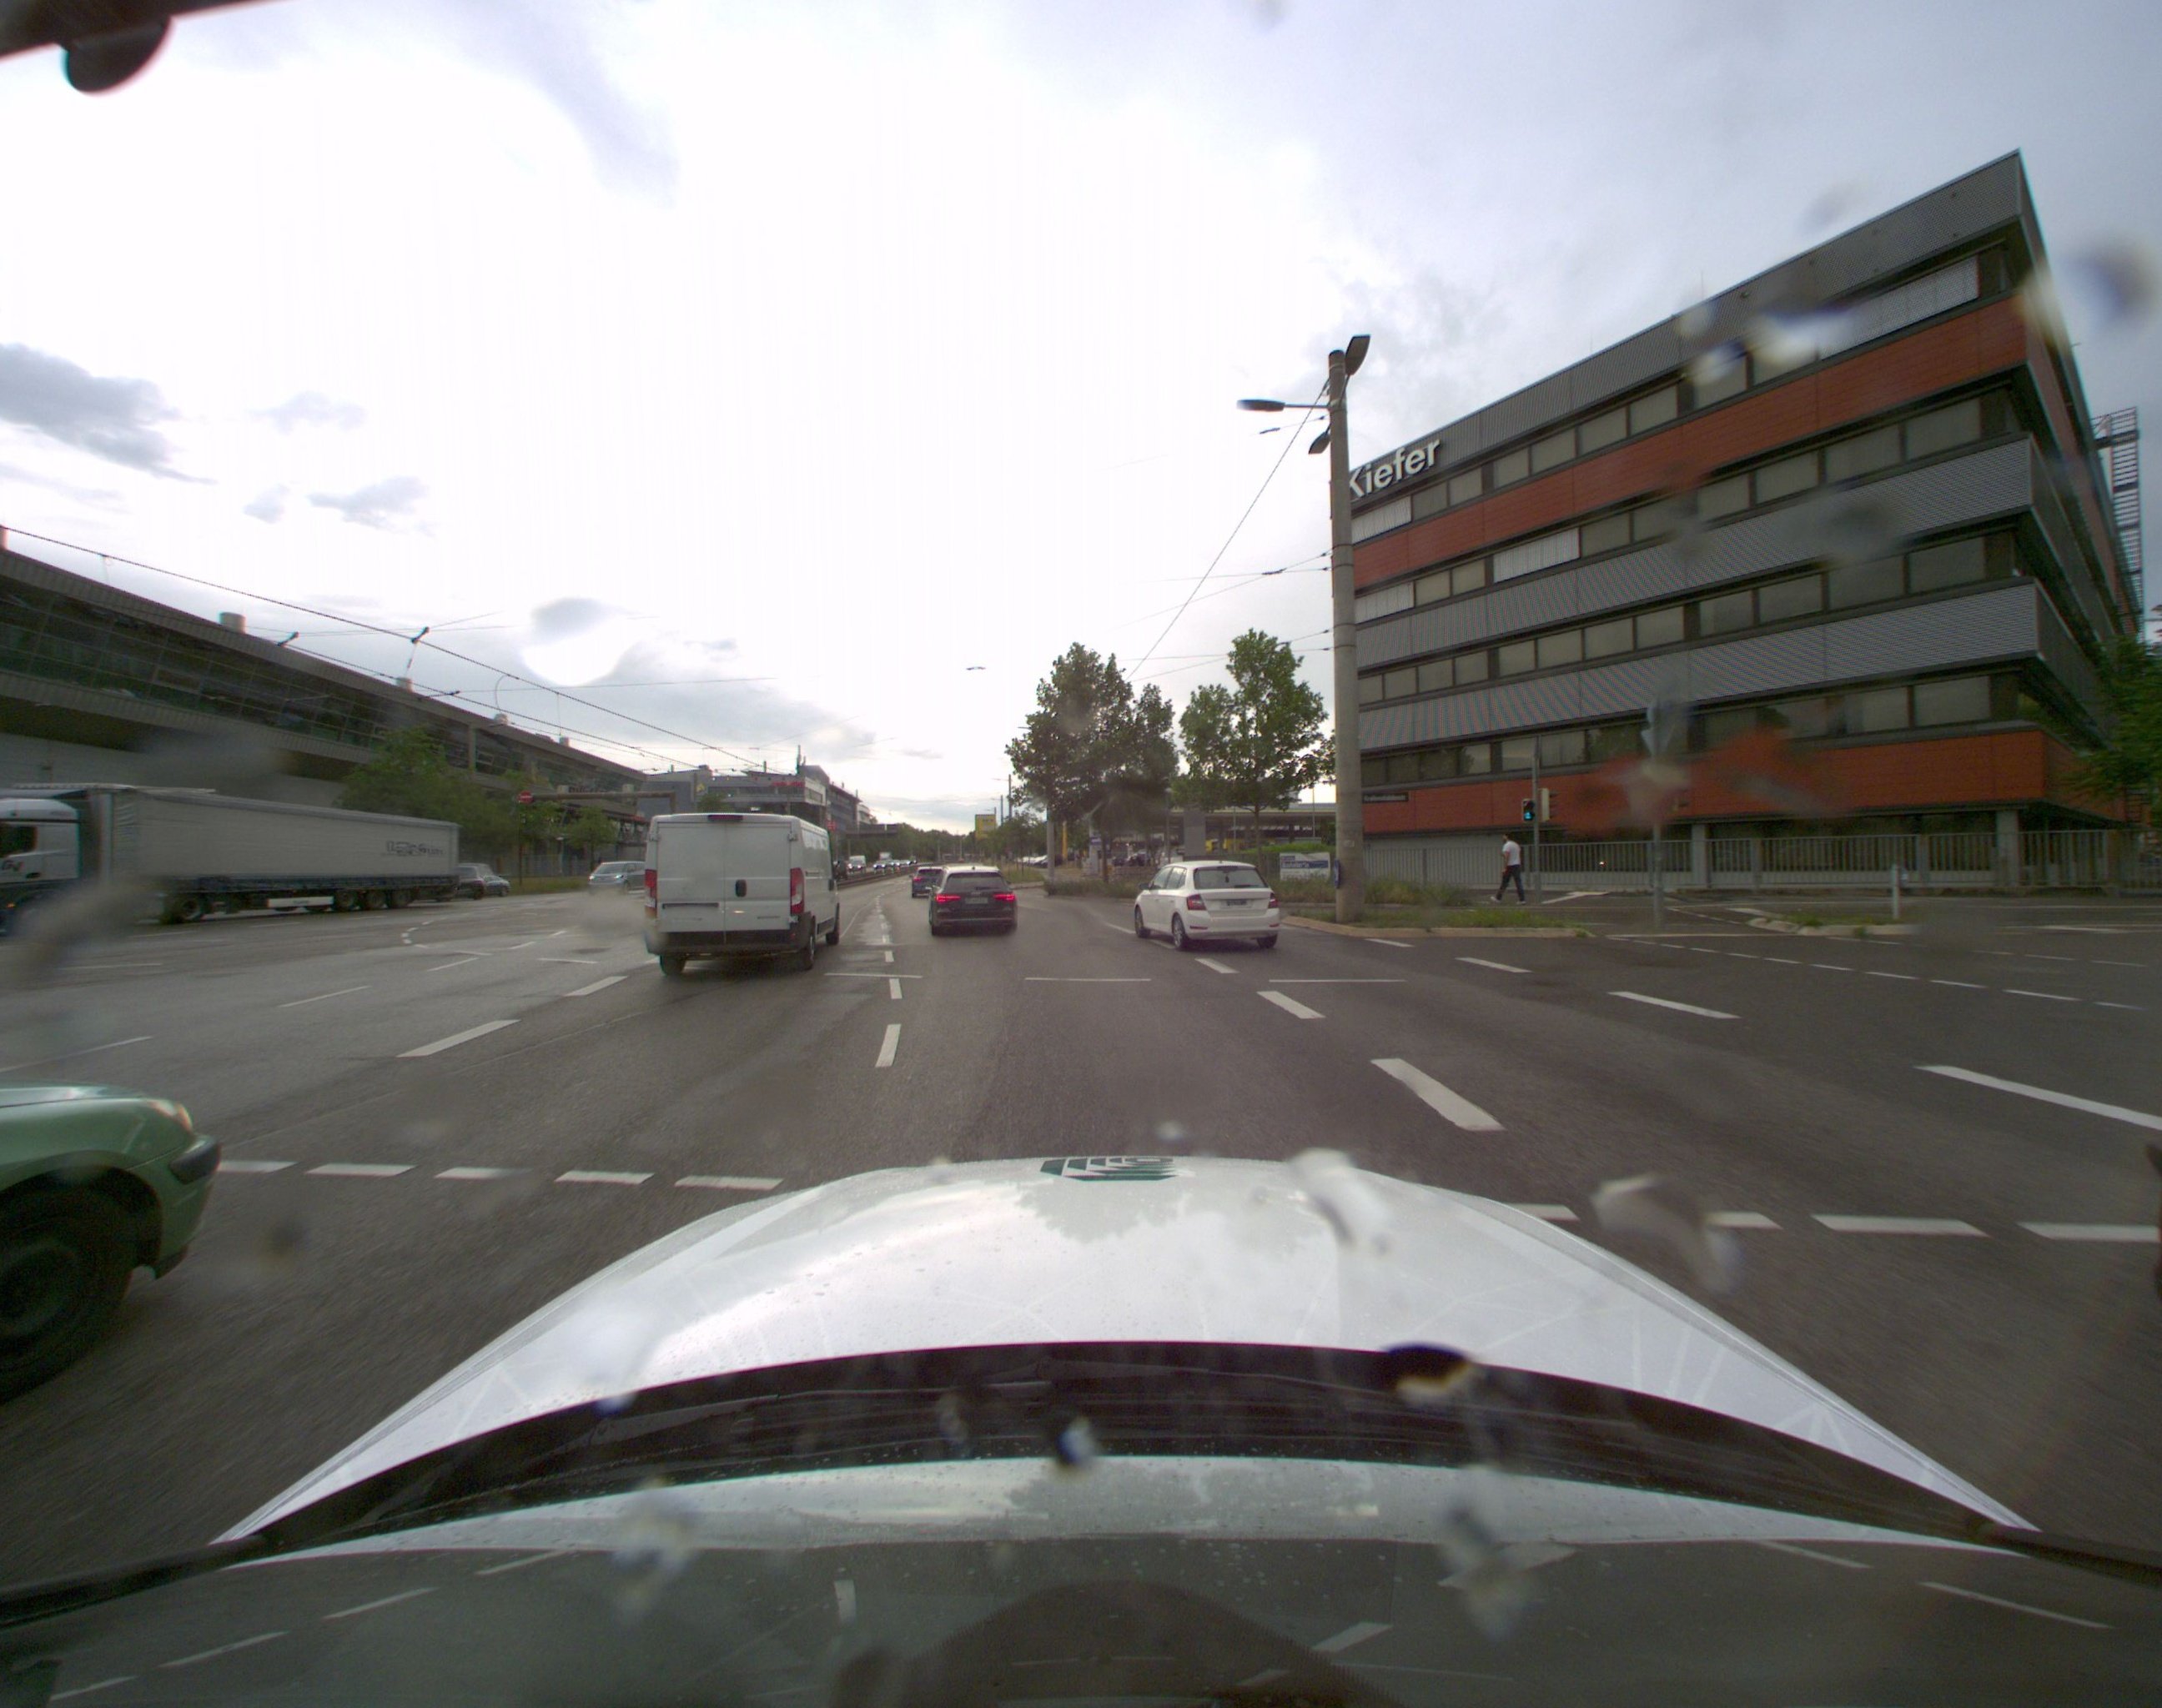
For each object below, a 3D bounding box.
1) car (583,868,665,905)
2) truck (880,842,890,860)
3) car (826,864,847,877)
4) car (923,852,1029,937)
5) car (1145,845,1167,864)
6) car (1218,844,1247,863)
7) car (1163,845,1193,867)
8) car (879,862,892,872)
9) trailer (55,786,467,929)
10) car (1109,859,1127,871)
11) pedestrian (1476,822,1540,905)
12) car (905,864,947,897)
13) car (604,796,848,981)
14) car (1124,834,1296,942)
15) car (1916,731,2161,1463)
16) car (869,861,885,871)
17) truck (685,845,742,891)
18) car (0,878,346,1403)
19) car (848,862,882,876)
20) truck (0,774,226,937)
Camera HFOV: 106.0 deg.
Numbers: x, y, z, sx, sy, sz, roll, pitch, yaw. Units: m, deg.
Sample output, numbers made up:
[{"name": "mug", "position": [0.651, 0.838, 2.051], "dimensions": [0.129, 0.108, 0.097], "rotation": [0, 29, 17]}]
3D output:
[{"name": "car", "position": [-26.300, 1.834, 47.103], "dimensions": [1.987, 1.837, 4.907], "rotation": [1, 1, -1]}, {"name": "truck", "position": [-42.998, -0.605, 178.703], "dimensions": [2.161, 3.646, 6.841], "rotation": [1, -1, -13]}, {"name": "car", "position": [-34.166, 2.318, 114.033], "dimensions": [2.158, 1.506, 4.287], "rotation": [6, -2, -9]}, {"name": "car", "position": [-2.443, 0.797, 18.087], "dimensions": [1.995, 1.637, 3.984], "rotation": [-1, 0, -12]}, {"name": "car", "position": [8.076, 0.104, 88.367], "dimensions": [1.677, 2.014, 3.534], "rotation": [1, -1, -6]}, {"name": "car", "position": [16.825, -0.022, 90.591], "dimensions": [1.871, 2.014, 3.759], "rotation": [1, -1, -11]}, {"name": "car", "position": [9.416, 0.207, 79.366], "dimensions": [1.992, 2.032, 3.989], "rotation": [-2, 0, -8]}, {"name": "car", "position": [-36.961, 2.415, 153.939], "dimensions": [2.160, 1.886, 4.283], "rotation": [1, -1, -12]}, {"name": "trailer", "position": [-28.826, 0.182, 30.220], "dimensions": [2.642, 4.125, 12.736], "rotation": [-1, -1, -2]}, {"name": "car", "position": [5.051, 1.449, 111.738], "dimensions": [1.790, 1.591, 3.988], "rotation": [-1, -1, -8]}, {"name": "pedestrian", "position": [11.368, 0.236, 21.727], "dimensions": [1.137, 2.125, 1.225], "rotation": [-2, 1, 9]}, {"name": "car", "position": [-7.379, 1.239, 39.065], "dimensions": [1.893, 1.465, 3.896], "rotation": [0, -1, -9]}, {"name": "car", "position": [-5.250, 0.452, 12.945], "dimensions": [2.446, 2.294, 4.886], "rotation": [-2, -1, -11]}, {"name": "car", "position": [2.131, 0.564, 14.633], "dimensions": [1.829, 1.656, 3.985], "rotation": [0, -1, -11]}, {"name": "car", "position": [3.155, 0.548, 0.182], "dimensions": [1.757, 1.630, 4.330], "rotation": [1, 0, 5]}, {"name": "car", "position": [-34.135, 1.946, 136.495], "dimensions": [1.797, 1.621, 4.948], "rotation": [-1, 0, -4]}, {"name": "truck", "position": [-31.967, 1.221, 71.018], "dimensions": [2.741, 3.805, 5.402], "rotation": [-2, -1, -5]}, {"name": "car", "position": [-3.904, 0.821, 1.210], "dimensions": [1.690, 1.468, 4.399], "rotation": [1, -1, -2]}, {"name": "car", "position": [-29.649, 2.088, 111.917], "dimensions": [2.138, 1.886, 4.328], "rotation": [1, -1, 30]}, {"name": "truck", "position": [-28.695, 0.098, 22.952], "dimensions": [2.658, 4.130, 6.183], "rotation": [-1, -1, -1]}]
